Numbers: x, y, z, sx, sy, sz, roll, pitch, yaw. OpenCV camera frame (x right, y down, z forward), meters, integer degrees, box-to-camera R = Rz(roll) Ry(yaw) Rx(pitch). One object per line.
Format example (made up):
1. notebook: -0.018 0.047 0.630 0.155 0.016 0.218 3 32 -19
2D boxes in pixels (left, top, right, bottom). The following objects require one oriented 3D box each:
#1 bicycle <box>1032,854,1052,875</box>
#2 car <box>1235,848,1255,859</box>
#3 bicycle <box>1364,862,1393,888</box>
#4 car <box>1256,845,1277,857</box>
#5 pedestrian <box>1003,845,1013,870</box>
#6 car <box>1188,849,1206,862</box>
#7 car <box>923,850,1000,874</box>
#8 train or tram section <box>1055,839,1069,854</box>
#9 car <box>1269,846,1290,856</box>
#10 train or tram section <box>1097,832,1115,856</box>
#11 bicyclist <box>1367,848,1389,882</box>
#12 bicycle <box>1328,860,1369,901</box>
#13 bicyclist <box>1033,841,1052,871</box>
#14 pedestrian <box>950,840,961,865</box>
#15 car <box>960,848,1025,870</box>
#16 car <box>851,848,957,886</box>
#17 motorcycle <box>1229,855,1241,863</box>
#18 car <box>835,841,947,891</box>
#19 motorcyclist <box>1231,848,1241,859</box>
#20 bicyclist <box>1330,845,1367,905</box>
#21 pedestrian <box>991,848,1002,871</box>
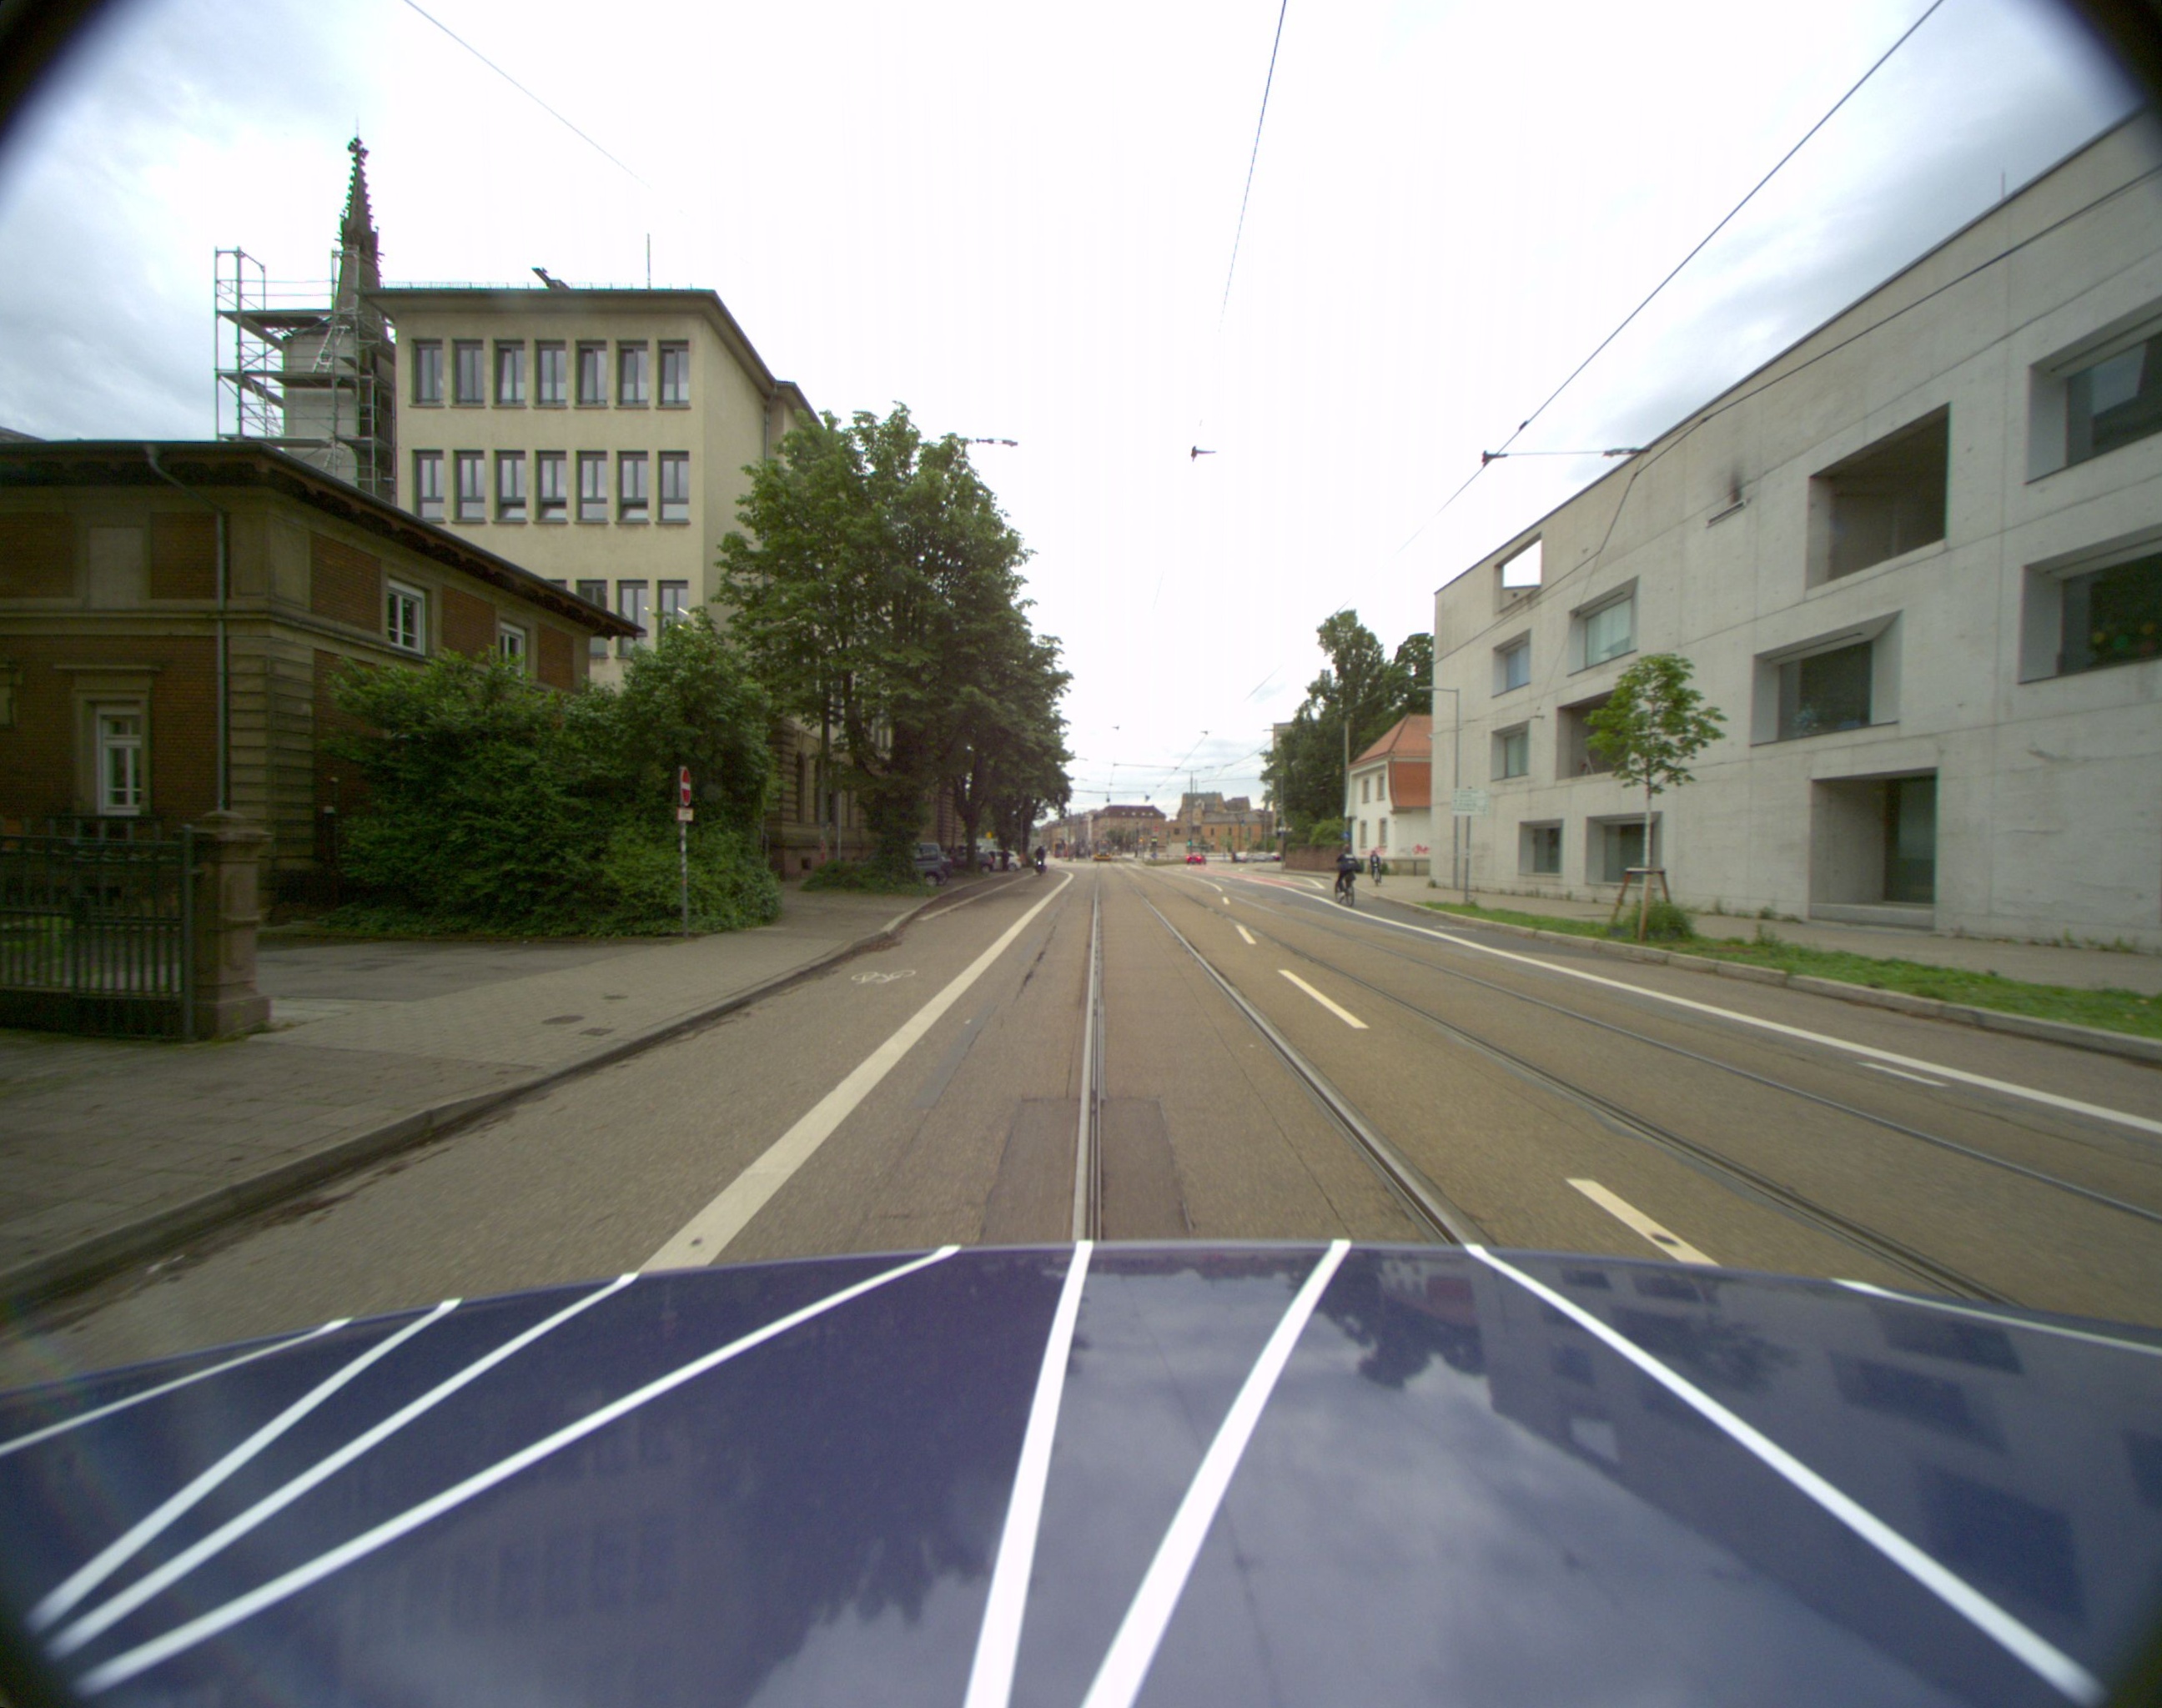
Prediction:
1. bicycle: -2.360 0.629 46.339 0.852 1.234 2.311 0 -1 6
2. car: 23.269 -0.147 107.737 1.490 1.500 3.476 1 1 35
3. bicycle: 15.044 1.041 38.449 0.775 1.205 1.869 1 1 3
4. car: 27.844 -0.471 113.969 1.681 1.641 3.988 1 1 36
5. pedestrian: -5.035 0.238 52.676 0.614 1.740 0.685 0 1 -13
6. car: 14.354 0.179 94.058 1.758 1.491 4.004 2 1 15
7. car: -7.316 0.478 46.531 4.338 1.394 1.750 0 1 -32
8. train or tram section: -3.653 -1.460 146.068 2.609 2.936 4.965 0 1 -1
9. car: 31.020 -0.515 118.579 1.781 1.602 4.333 1 1 36
10. train or tram section: 3.940 -1.623 119.559 2.631 3.660 5.984 0 1 -1
11. bicyclist: 15.060 0.551 38.569 0.775 1.681 0.869 1 1 3
12. bicycle: 8.322 0.801 23.735 0.793 1.179 2.012 4 1 9
13. bicyclist: -2.352 0.132 46.497 0.881 1.811 1.479 0 -1 6
14. pedestrian: -9.403 -0.083 56.917 0.680 1.828 0.751 2 1 1
15. car: -6.321 0.342 54.432 4.330 1.542 1.747 0 1 -21
16. car: -7.562 0.540 32.546 4.007 1.530 1.859 1 0 -34
17. motorcycle: 21.133 0.660 104.063 1.053 1.063 2.652 0 1 24
18. car: -7.395 0.455 29.616 3.846 1.810 1.802 1 1 -30
19. motorcyclist: 21.344 -0.037 104.505 1.074 1.477 1.253 0 1 23
20. bicyclist: 8.318 0.648 23.674 0.793 1.773 1.148 4 1 9
21. pedestrian: -5.847 0.392 52.666 0.645 1.617 0.590 0 1 -22
